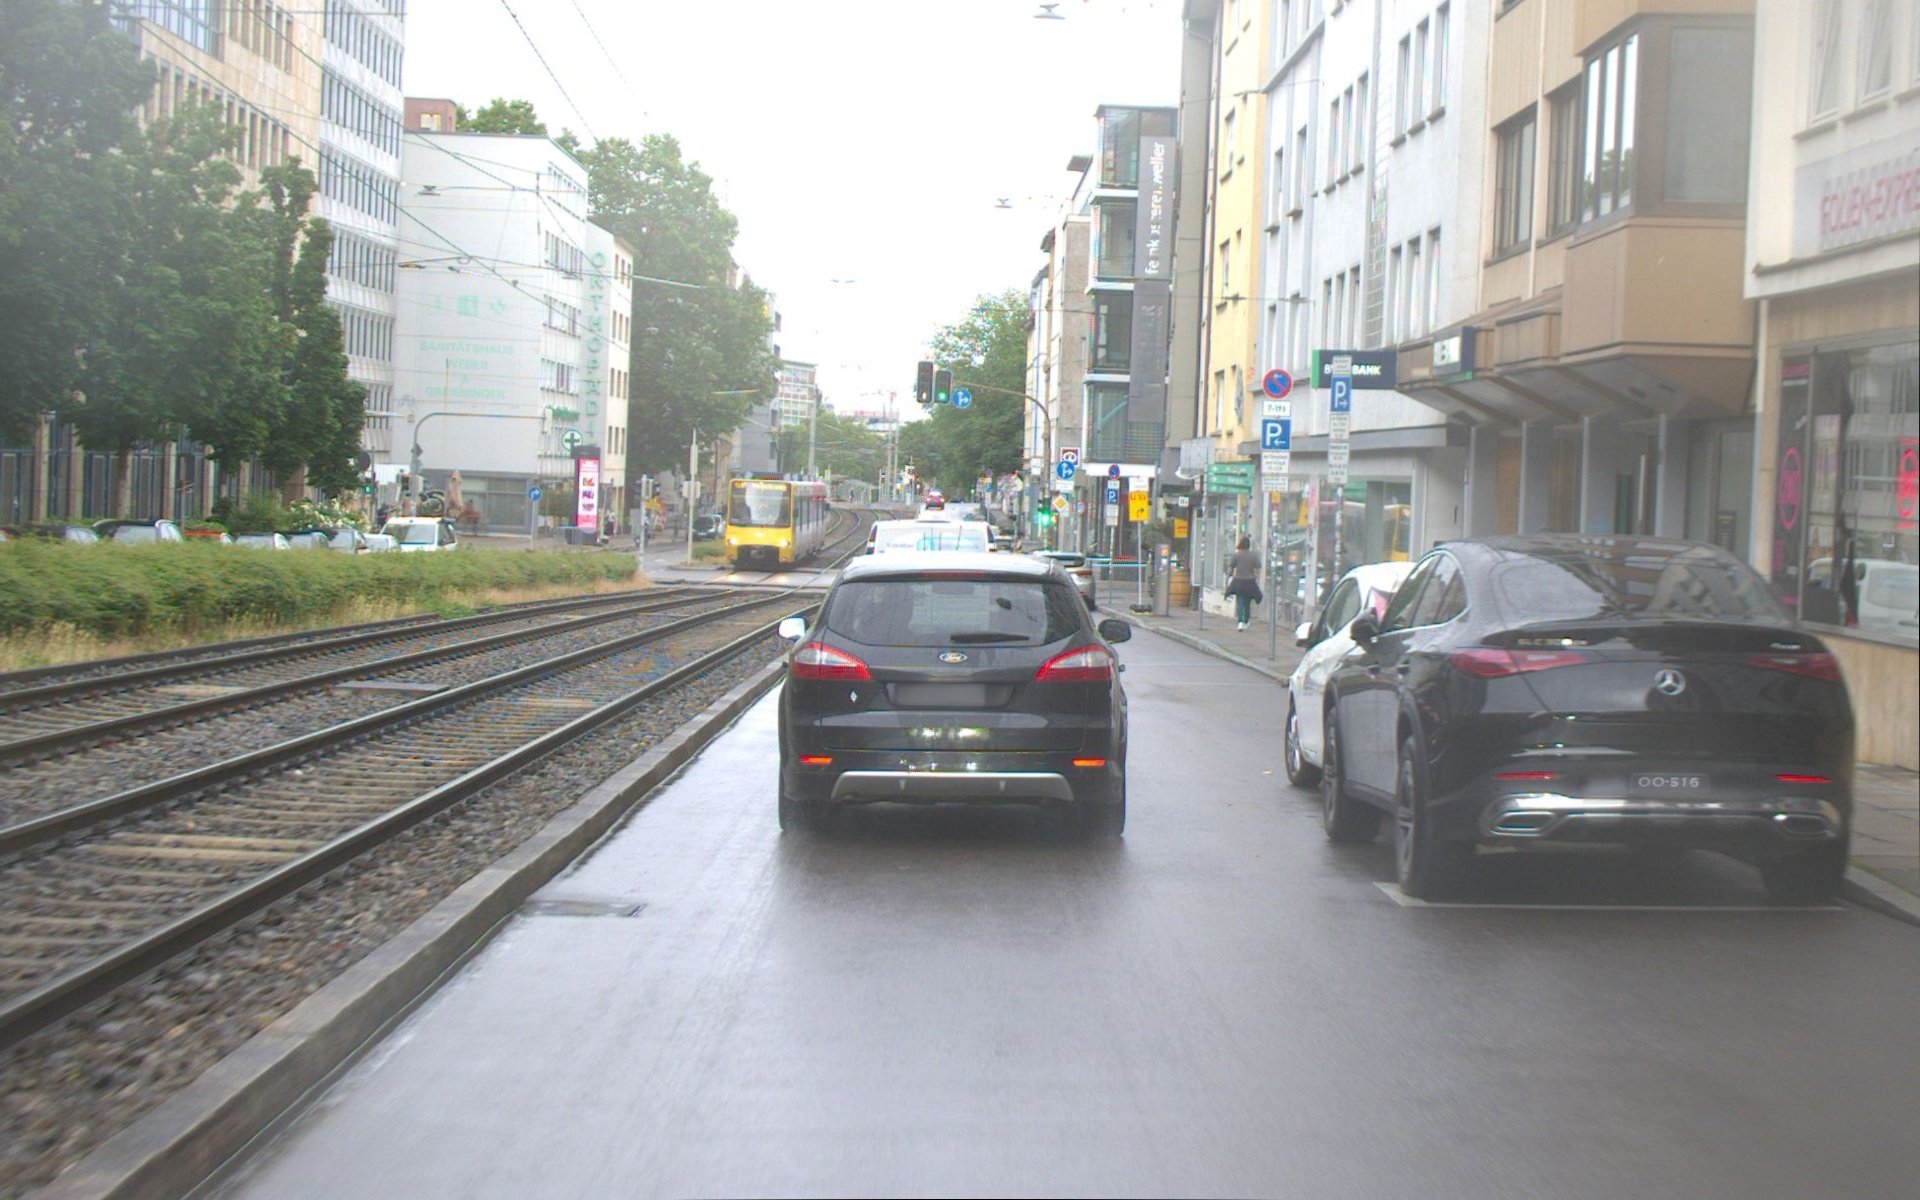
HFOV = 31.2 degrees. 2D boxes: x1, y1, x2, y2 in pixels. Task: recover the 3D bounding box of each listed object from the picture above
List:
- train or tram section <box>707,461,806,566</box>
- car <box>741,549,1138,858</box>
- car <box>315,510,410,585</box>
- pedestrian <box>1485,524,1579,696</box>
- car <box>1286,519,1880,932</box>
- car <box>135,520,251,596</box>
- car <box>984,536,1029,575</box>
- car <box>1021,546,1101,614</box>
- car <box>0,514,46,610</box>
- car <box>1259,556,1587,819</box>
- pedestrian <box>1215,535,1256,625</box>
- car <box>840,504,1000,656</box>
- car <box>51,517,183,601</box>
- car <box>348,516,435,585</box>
[{"bbox_3d":[-7.784,-3.256,132.240,3.512,3.764,11.333,2,1,-3],"label":"train or tram section"},{"bbox_3d":[-0.101,0.503,18.629,1.906,1.457,3.445,2,0,0],"label":"car"},{"bbox_3d":[-15.707,-1.350,90.490,1.906,1.858,4.574,2,0,-3],"label":"car"},{"bbox_3d":[5.603,0.092,33.720,0.695,1.646,0.966,2,1,-1],"label":"pedestrian"},{"bbox_3d":[2.772,0.476,16.529,1.807,1.626,5.169,2,1,-1],"label":"car"},{"bbox_3d":[-15.262,-0.846,68.570,1.568,1.431,4.178,2,1,-3],"label":"car"},{"bbox_3d":[2.017,-1.926,150.014,1.906,1.628,4.574,2,0,1],"label":"car"},{"bbox_3d":[2.558,-0.513,88.002,1.906,1.628,4.574,2,0,1],"label":"car"},{"bbox_3d":[-15.194,-0.608,52.469,1.568,1.431,4.178,2,1,-3],"label":"car"},{"bbox_3d":[2.829,0.484,21.648,1.557,1.471,3.565,2,1,0],"label":"car"},{"bbox_3d":[4.767,-0.343,59.520,0.611,1.532,0.649,2,1,-1],"label":"pedestrian"},{"bbox_3d":[-0.481,-0.262,45.708,1.906,1.858,4.573,2,0,1],"label":"car"},{"bbox_3d":[-15.270,-0.752,62.462,1.568,1.431,4.178,2,1,-3],"label":"car"},{"bbox_3d":[-16.042,-1.381,97.188,1.906,1.858,4.574,2,0,-3],"label":"car"}]
